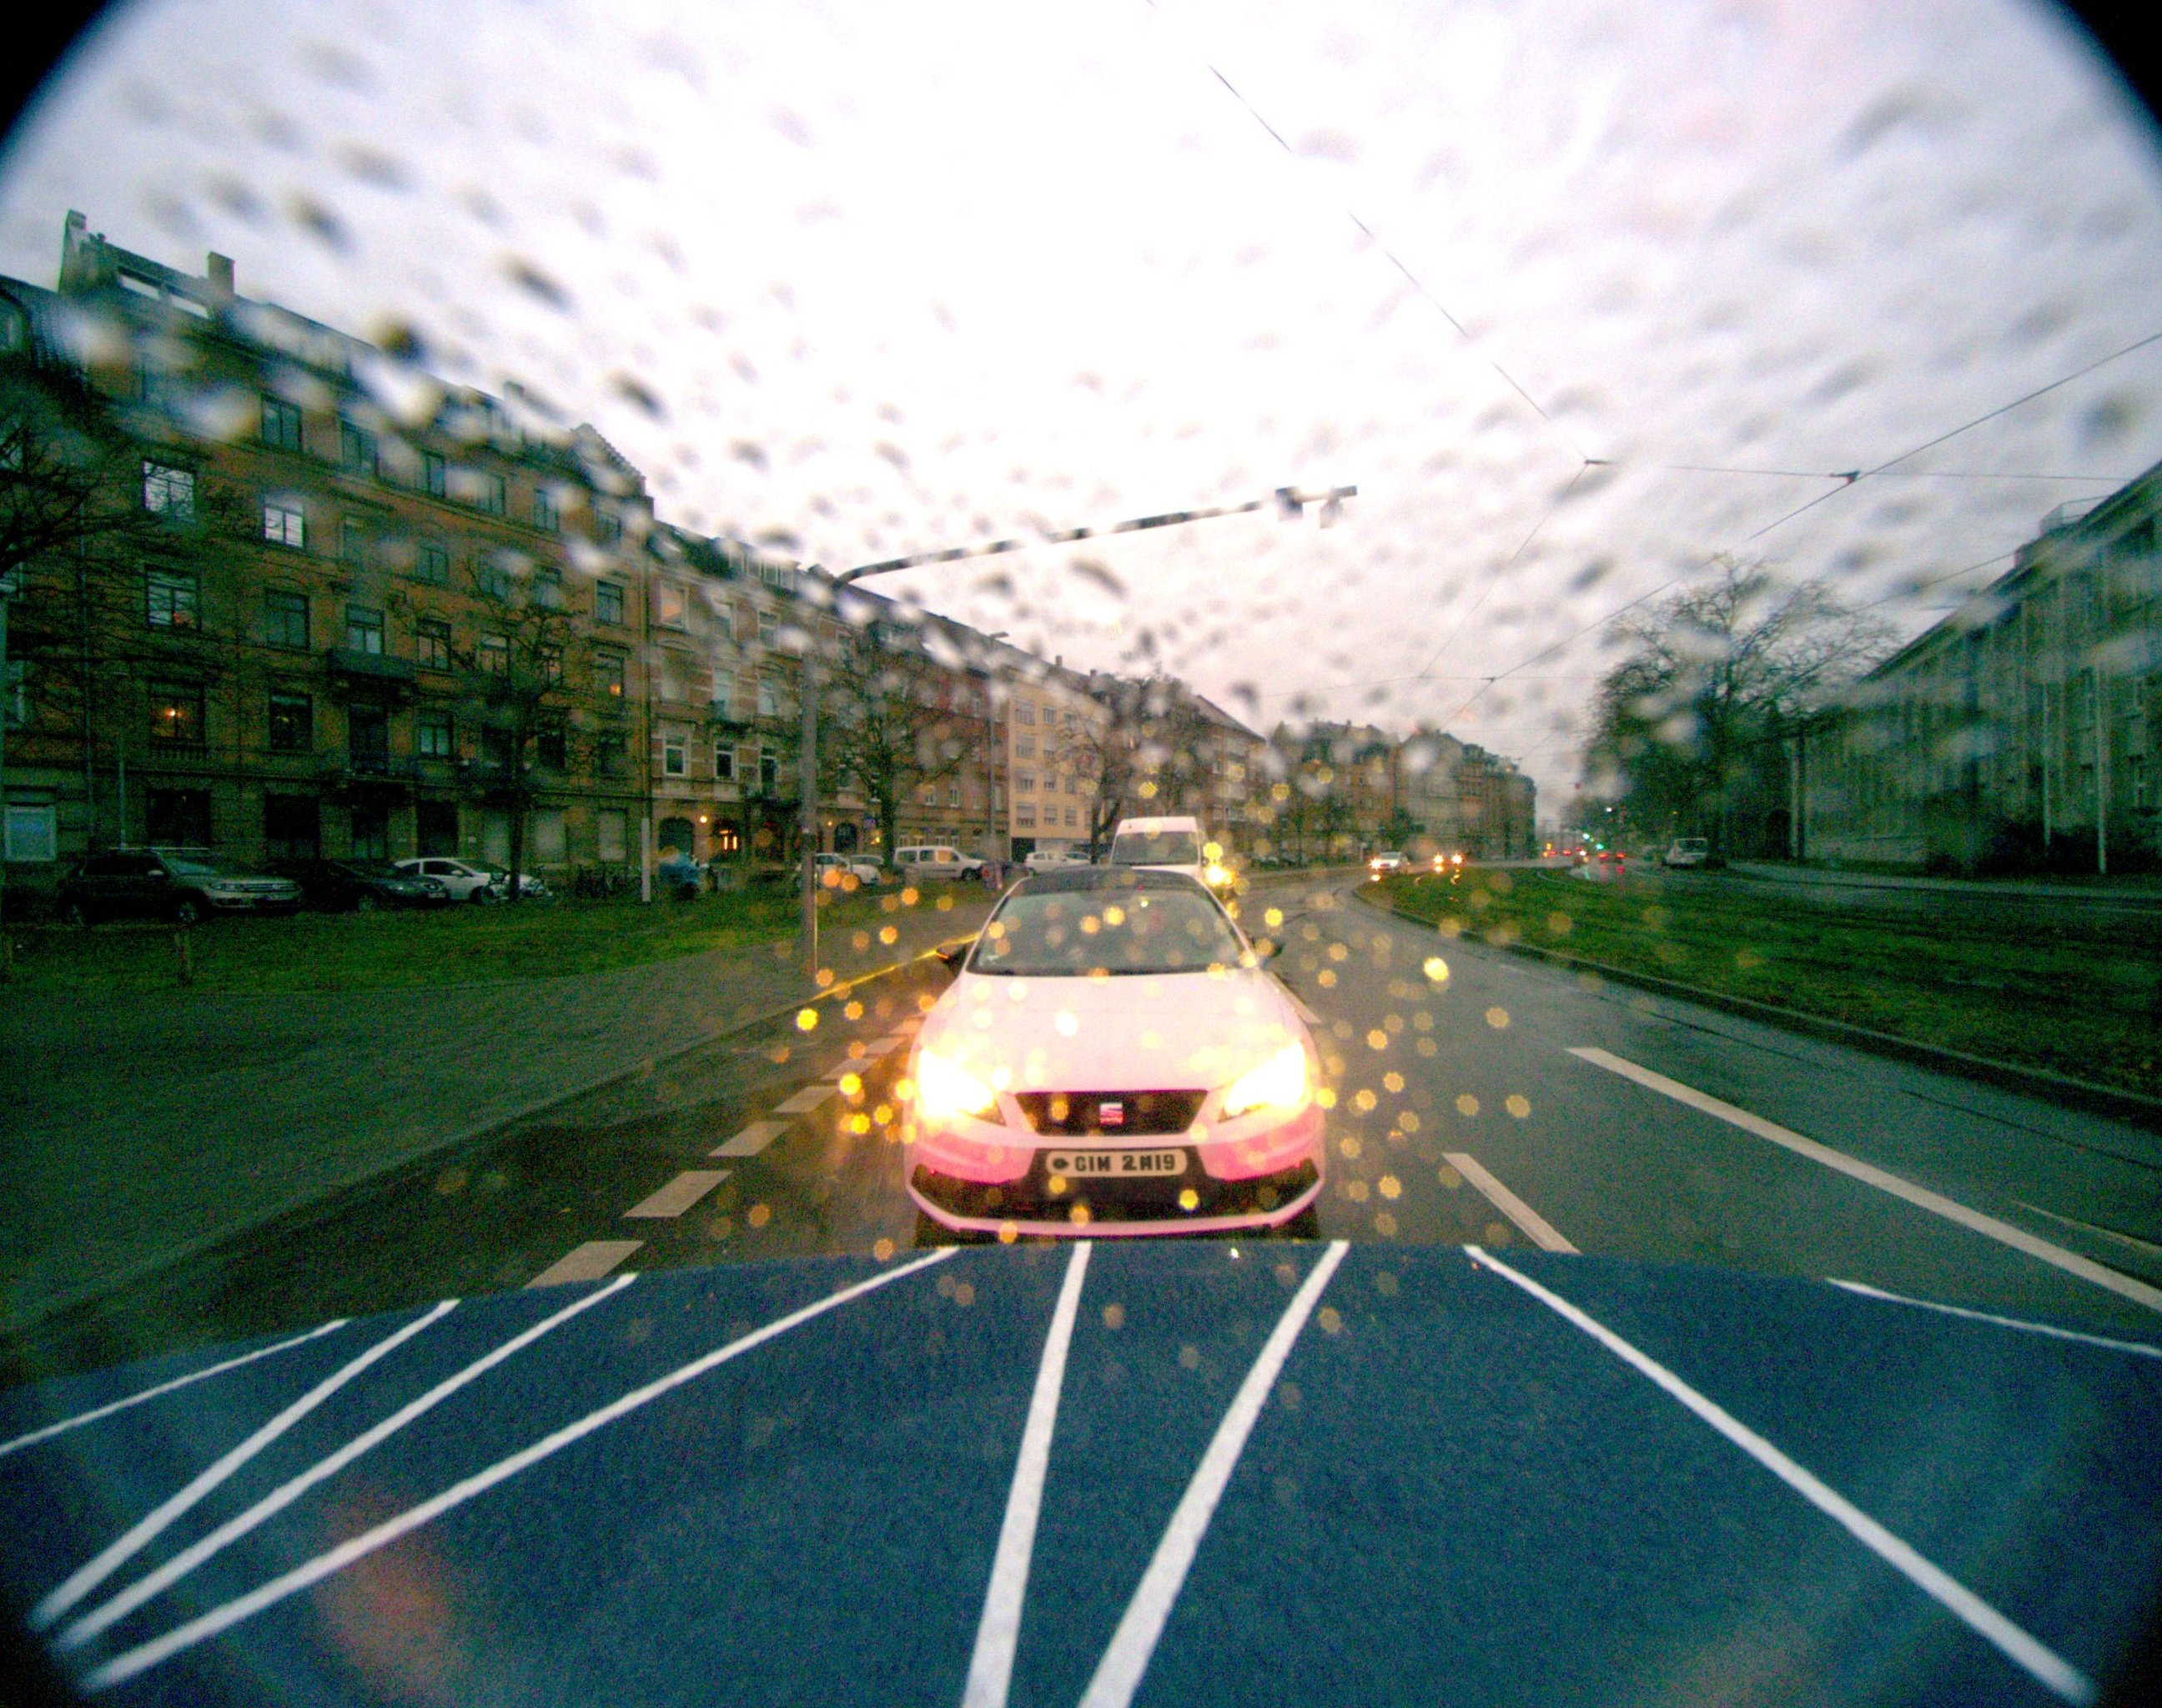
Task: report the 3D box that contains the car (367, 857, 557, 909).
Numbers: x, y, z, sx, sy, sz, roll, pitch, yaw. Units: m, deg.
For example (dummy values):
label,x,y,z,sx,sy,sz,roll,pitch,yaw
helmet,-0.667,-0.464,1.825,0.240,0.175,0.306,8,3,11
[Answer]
label,x,y,z,sx,sy,sz,roll,pitch,yaw
car,-17.158,0.777,21.204,3.856,1.329,1.698,-1,0,-1

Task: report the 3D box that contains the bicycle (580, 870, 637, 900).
label,x,y,z,sx,sy,sz,roll,pitch,yaw
bicycle,-15.851,1.055,25.468,2.165,0.960,0.627,-2,-2,28

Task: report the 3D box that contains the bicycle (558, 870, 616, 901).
label,x,y,z,sx,sy,sz,roll,pitch,yaw
bicycle,-16.203,1.048,24.930,2.165,0.960,0.627,-2,-2,28

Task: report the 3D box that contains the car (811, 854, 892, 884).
label,x,y,z,sx,sy,sz,roll,pitch,yaw
car,-12.639,0.811,42.000,1.733,1.492,4.058,-3,-1,32

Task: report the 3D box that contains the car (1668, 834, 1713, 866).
label,x,y,z,sx,sy,sz,roll,pitch,yaw
car,41.836,-0.317,52.245,1.995,2.002,4.518,-3,0,35

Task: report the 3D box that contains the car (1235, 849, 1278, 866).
label,x,y,z,sx,sy,sz,roll,pitch,yaw
car,15.970,0.299,69.268,3.760,1.346,1.603,-3,0,11

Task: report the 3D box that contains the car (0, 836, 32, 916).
label,x,y,z,sx,sy,sz,roll,pitch,yaw
car,-29.141,0.572,17.918,1.994,2.002,4.997,1,1,32

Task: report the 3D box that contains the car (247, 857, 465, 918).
label,x,y,z,sx,sy,sz,roll,pitch,yaw
car,-17.972,0.814,18.961,3.742,1.346,1.677,-2,-1,-2

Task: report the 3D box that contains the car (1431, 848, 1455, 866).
label,x,y,z,sx,sy,sz,roll,pitch,yaw
car,32.166,0.261,67.481,1.836,1.477,3.528,-1,0,28

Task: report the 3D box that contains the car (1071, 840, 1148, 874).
label,x,y,z,sx,sy,sz,roll,pitch,yaw
car,1.790,0.196,48.541,4.720,1.971,1.799,-2,0,-2

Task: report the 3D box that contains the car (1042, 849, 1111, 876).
label,x,y,z,sx,sy,sz,roll,pitch,yaw
car,-0.278,0.519,45.820,3.998,1.406,1.641,-3,0,-2

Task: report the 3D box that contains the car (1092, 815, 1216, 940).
label,x,y,z,sx,sy,sz,roll,pitch,yaw
car,1.883,0.454,17.383,2.127,2.366,5.643,-2,0,12

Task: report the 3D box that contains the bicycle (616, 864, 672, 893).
label,x,y,z,sx,sy,sz,roll,pitch,yaw
bicycle,-15.143,0.824,26.299,2.165,0.960,0.627,0,1,28

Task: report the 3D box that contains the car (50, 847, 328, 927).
label,x,y,z,sx,sy,sz,roll,pitch,yaw
car,-19.520,0.664,16.759,3.996,1.627,1.944,0,1,4

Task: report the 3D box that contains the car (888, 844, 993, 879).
label,x,y,z,sx,sy,sz,roll,pitch,yaw
car,-6.700,0.349,36.532,4.659,1.583,1.778,1,1,3

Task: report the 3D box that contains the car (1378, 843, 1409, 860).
label,x,y,z,sx,sy,sz,roll,pitch,yaw
car,29.752,-0.257,72.318,1.718,1.608,3.947,-1,0,37

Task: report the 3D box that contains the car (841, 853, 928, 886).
label,x,y,z,sx,sy,sz,roll,pitch,yaw
car,-8.806,0.681,34.180,3.430,1.343,1.664,-2,0,2

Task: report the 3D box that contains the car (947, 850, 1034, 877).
label,x,y,z,sx,sy,sz,roll,pitch,yaw
car,-4.560,0.466,38.690,4.058,1.227,1.771,1,0,6

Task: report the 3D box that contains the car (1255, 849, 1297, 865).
label,x,y,z,sx,sy,sz,roll,pitch,yaw
car,18.527,0.311,72.192,3.760,1.346,1.603,-3,0,11

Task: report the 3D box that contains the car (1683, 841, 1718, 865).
label,x,y,z,sx,sy,sz,roll,pitch,yaw
car,39.400,-0.061,48.390,1.557,1.420,2.960,-1,1,36

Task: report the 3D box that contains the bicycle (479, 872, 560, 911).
label,x,y,z,sx,sy,sz,roll,pitch,yaw
bicycle,-14.426,0.944,19.566,1.655,0.931,0.513,0,0,-35

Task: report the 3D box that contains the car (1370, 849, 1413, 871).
label,x,y,z,sx,sy,sz,roll,pitch,yaw
car,20.499,0.373,50.077,1.892,1.405,3.955,-1,0,33

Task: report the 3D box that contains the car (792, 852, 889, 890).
label,x,y,z,sx,sy,sz,roll,pitch,yaw
car,-10.032,0.693,31.787,3.462,1.435,1.615,-2,0,6

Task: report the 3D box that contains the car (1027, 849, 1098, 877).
label,x,y,z,sx,sy,sz,roll,pitch,yaw
car,-1.021,0.507,43.696,3.770,1.424,1.762,-3,0,9

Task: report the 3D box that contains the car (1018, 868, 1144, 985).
label,x,y,z,sx,sy,sz,roll,pitch,yaw
car,0.104,0.953,11.232,1.589,1.418,3.135,-1,0,4

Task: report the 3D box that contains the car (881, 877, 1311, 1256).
label,x,y,z,sx,sy,sz,roll,pitch,yaw
car,0.175,0.952,4.983,1.714,1.404,3.680,-3,0,4

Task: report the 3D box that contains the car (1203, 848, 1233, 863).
label,x,y,z,sx,sy,sz,roll,pitch,yaw
car,14.551,0.131,80.438,1.470,1.534,3.880,0,1,38
